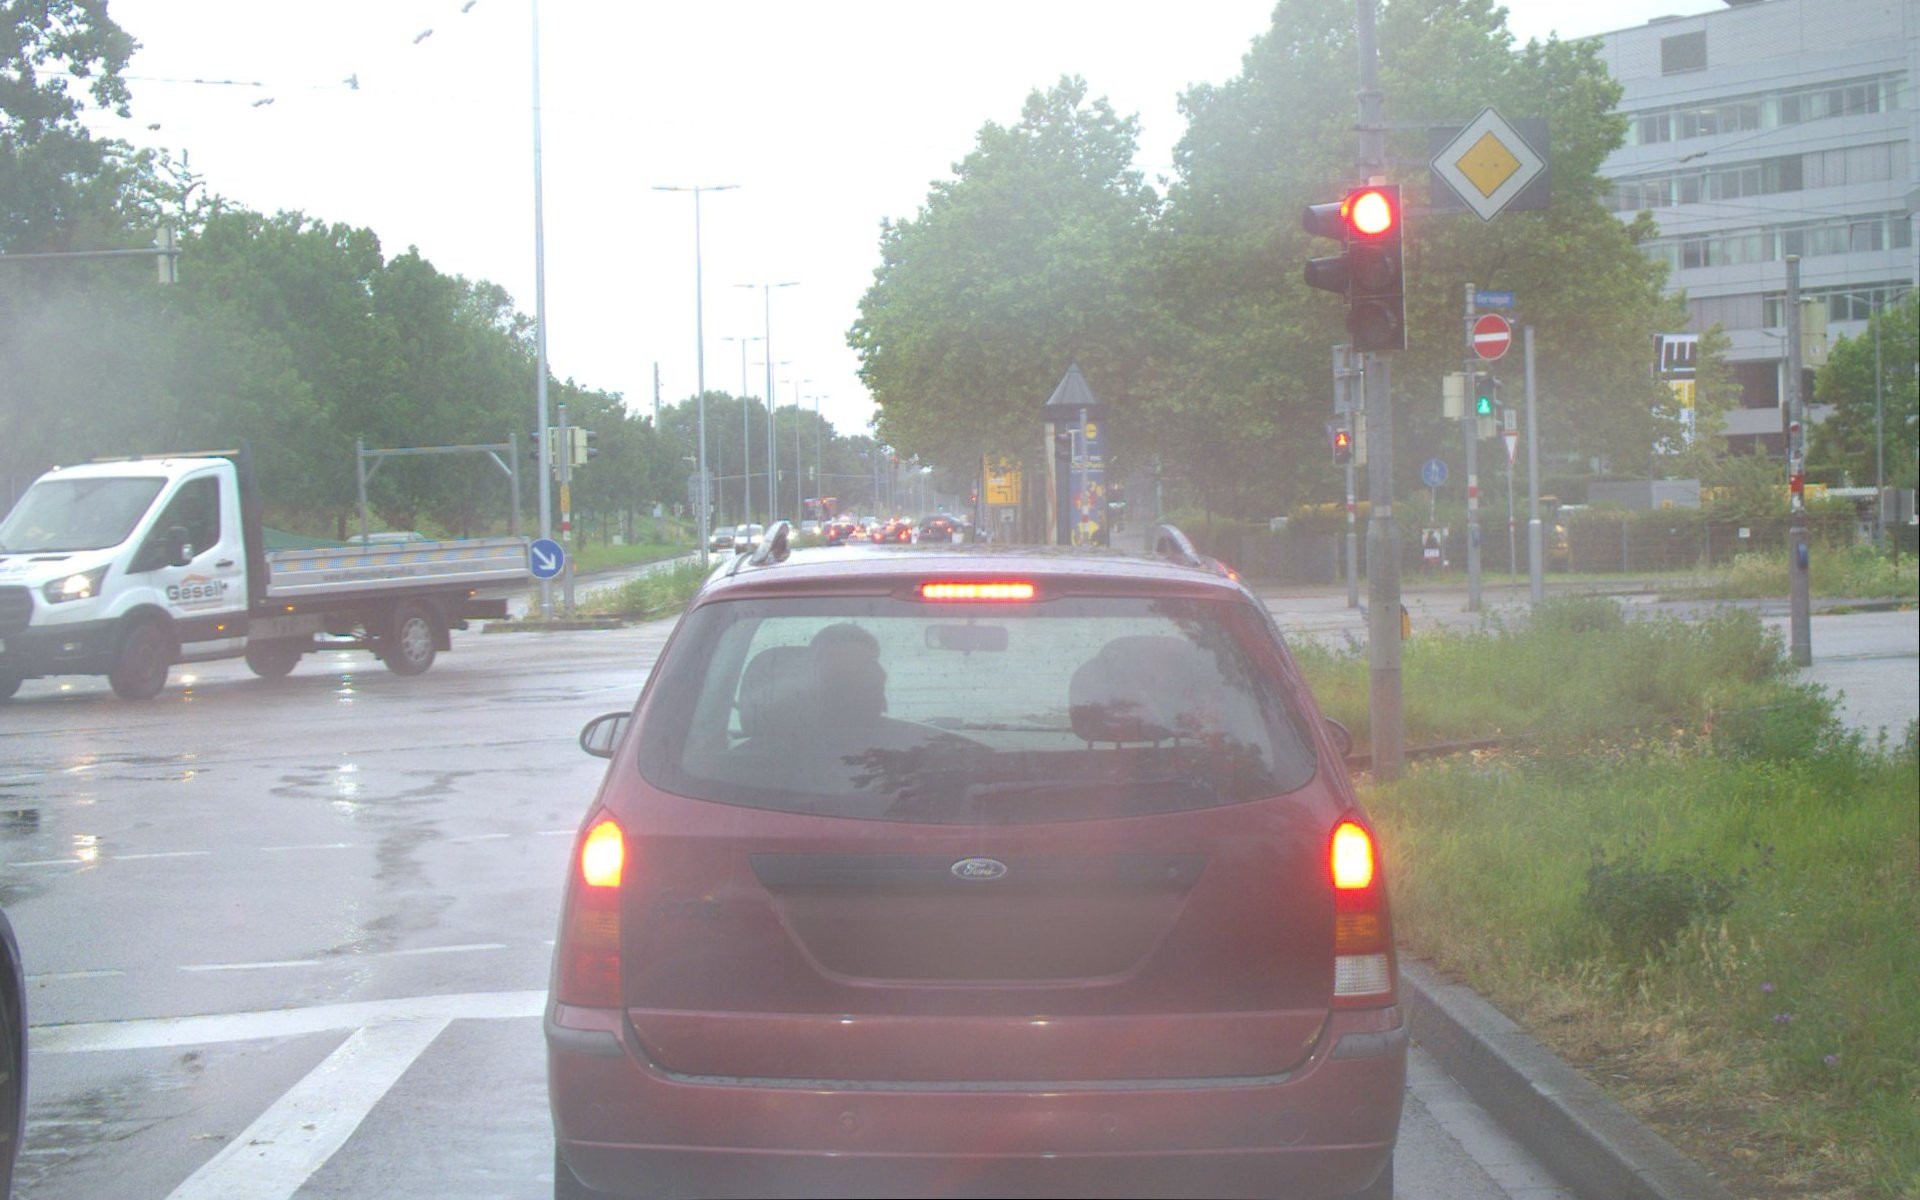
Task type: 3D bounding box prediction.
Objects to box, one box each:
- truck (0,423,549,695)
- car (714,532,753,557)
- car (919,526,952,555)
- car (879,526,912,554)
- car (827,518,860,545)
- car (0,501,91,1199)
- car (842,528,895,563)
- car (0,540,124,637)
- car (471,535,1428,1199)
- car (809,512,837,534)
[{"bbox_3d":[-7.151,-0.442,33.304,2.479,2.357,6.855,-1,1,32],"label":"truck"},{"bbox_3d":[-14.666,-3.614,223.048,2.094,1.522,4.192,-1,1,2],"label":"car"},{"bbox_3d":[-1.335,-3.237,187.105,1.671,1.522,3.846,-1,1,1],"label":"car"},{"bbox_3d":[-3.637,-3.393,194.181,1.698,1.522,3.846,-1,1,1],"label":"car"},{"bbox_3d":[-6.861,-4.051,202.379,1.698,1.522,3.846,-1,1,1],"label":"car"},{"bbox_3d":[-2.688,0.622,4.928,1.769,1.568,4.822,1,1,-2],"label":"car"},{"bbox_3d":[-4.201,-2.533,158.216,2.147,1.522,4.192,-1,1,2],"label":"car"},{"bbox_3d":[-14.632,-0.202,55.121,1.638,1.447,3.788,-2,1,-3],"label":"car"},{"bbox_3d":[-0.070,0.601,7.818,1.642,1.460,3.733,1,1,-2],"label":"car"},{"bbox_3d":[-9.741,-5.508,244.947,1.698,1.522,3.846,-1,1,1],"label":"car"}]
